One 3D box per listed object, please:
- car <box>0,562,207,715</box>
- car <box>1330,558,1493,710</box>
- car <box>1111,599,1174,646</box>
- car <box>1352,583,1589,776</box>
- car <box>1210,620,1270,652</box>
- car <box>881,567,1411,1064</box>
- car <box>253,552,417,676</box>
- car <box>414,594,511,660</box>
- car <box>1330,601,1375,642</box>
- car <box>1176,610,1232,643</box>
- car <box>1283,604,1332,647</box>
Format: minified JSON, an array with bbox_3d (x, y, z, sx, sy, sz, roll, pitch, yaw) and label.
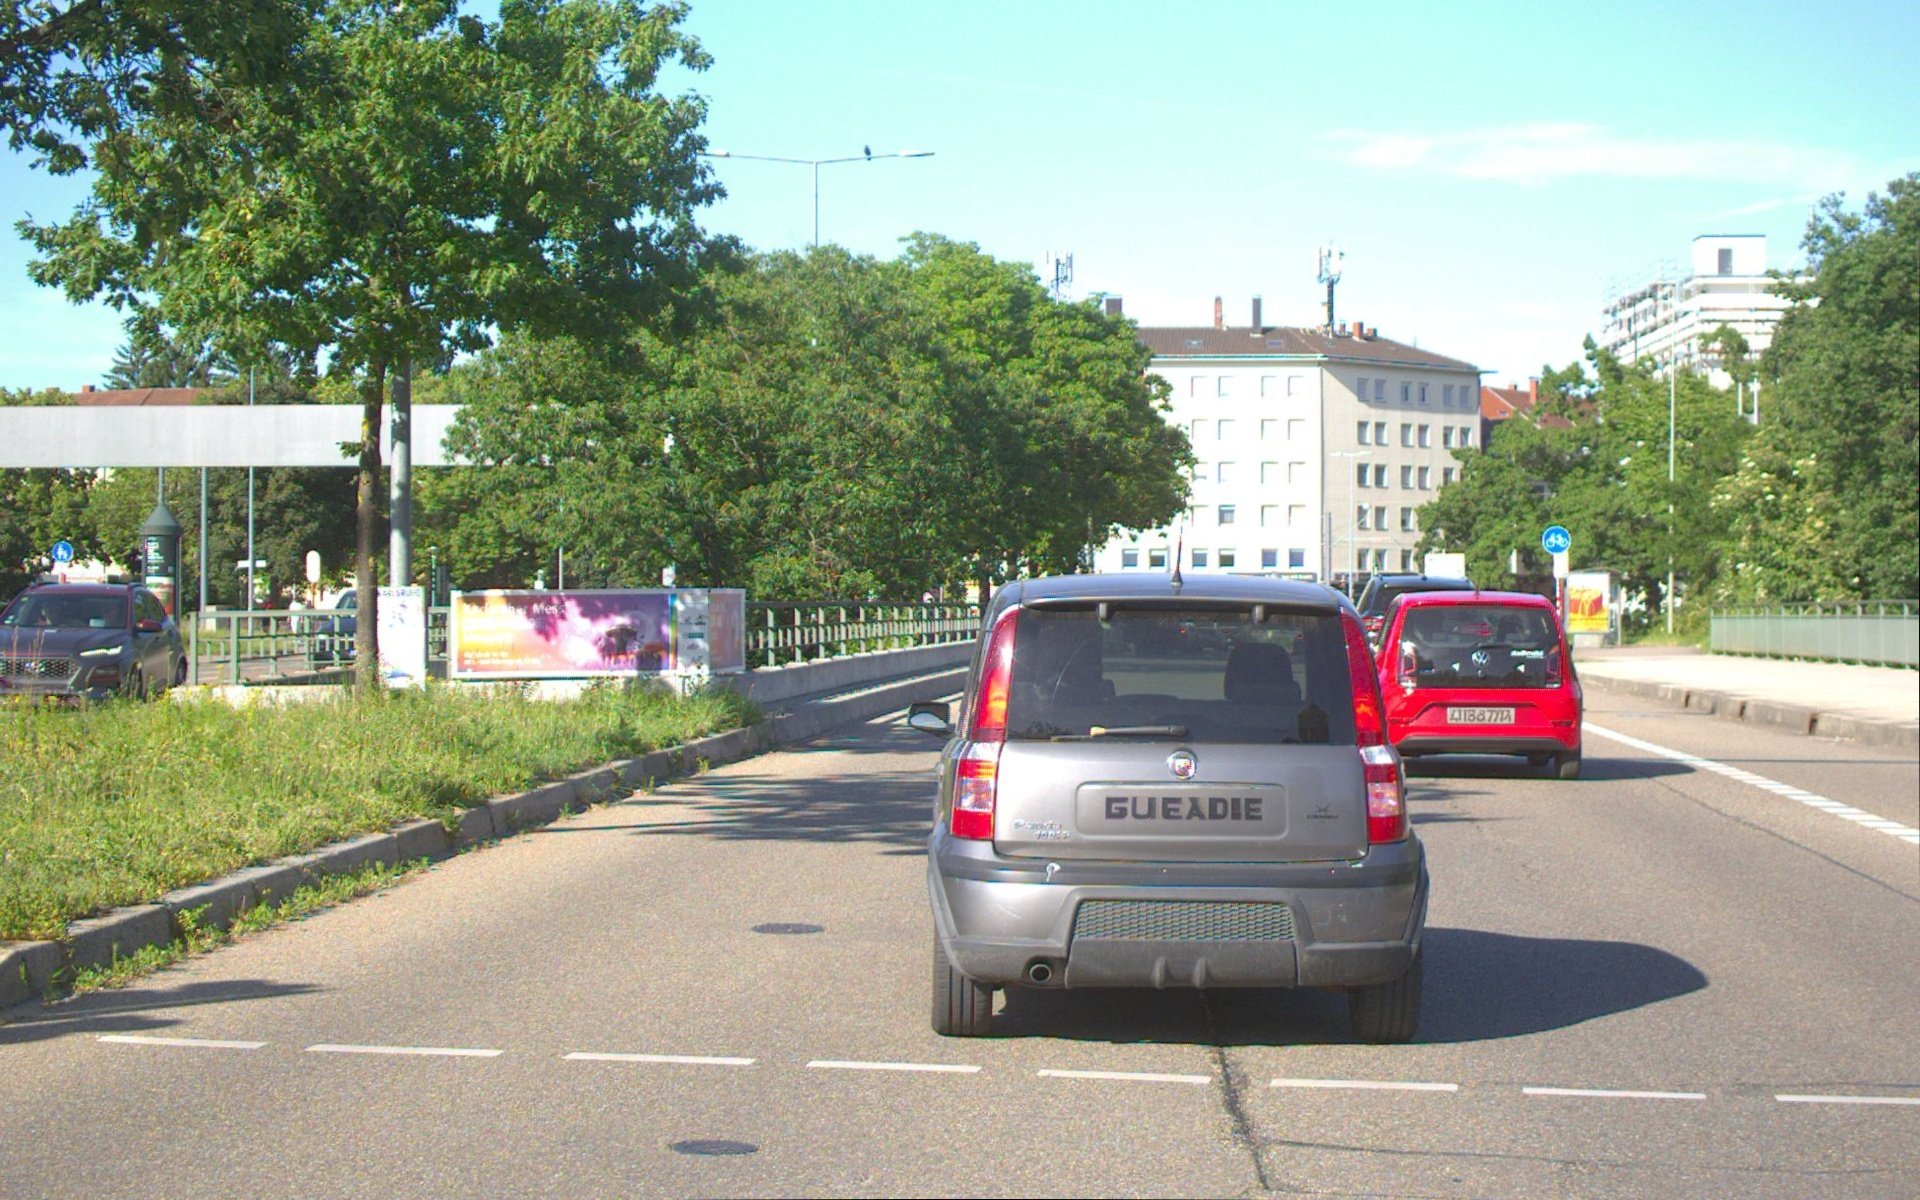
[{"bbox_3d":[-9.908,0.398,38.728,1.936,1.617,4.506,0,0,-1],"label":"car"},{"bbox_3d":[5.852,0.463,44.992,1.946,1.834,4.151,2,-1,6],"label":"car"},{"bbox_3d":[6.112,0.752,114.587,1.945,1.523,4.096,0,0,5],"label":"car"},{"bbox_3d":[4.139,0.604,28.337,1.617,1.458,3.750,1,0,4],"label":"car"},{"bbox_3d":[13.939,1.766,170.951,1.947,1.523,4.093,0,0,20],"label":"car"},{"bbox_3d":[0.692,0.647,12.506,1.617,1.510,3.819,1,0,4],"label":"car"},{"bbox_3d":[-10.494,0.234,57.997,1.993,2.007,4.334,0,0,0],"label":"car"},{"bbox_3d":[-11.766,0.628,81.485,1.744,1.495,4.000,0,0,0],"label":"car"},{"bbox_3d":[19.051,1.051,166.720,1.946,1.834,4.151,-3,-2,9],"label":"car"},{"bbox_3d":[11.585,1.263,162.812,1.946,1.523,4.094,0,0,14],"label":"car"},{"bbox_3d":[15.910,1.163,157.335,1.946,1.834,4.151,-3,-2,9],"label":"car"}]
